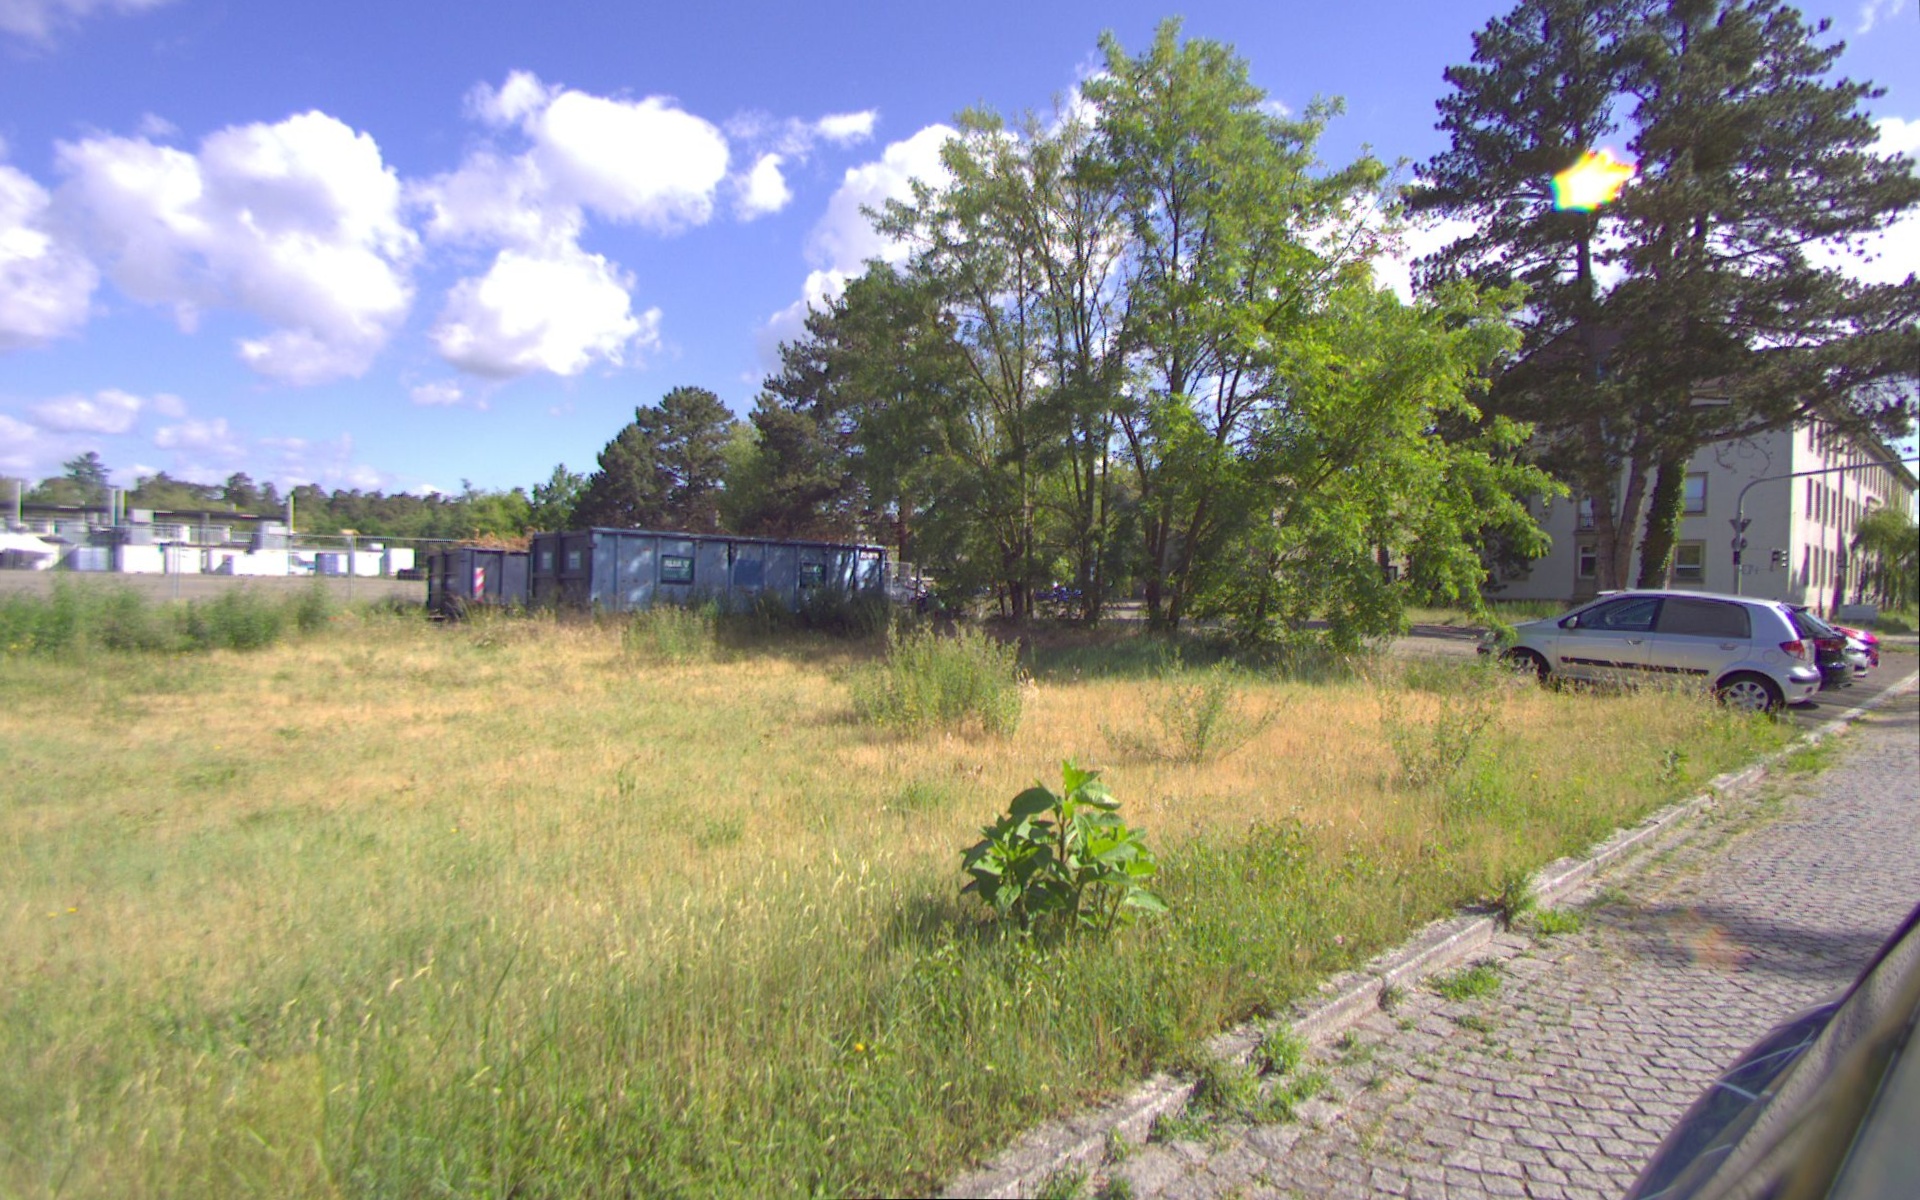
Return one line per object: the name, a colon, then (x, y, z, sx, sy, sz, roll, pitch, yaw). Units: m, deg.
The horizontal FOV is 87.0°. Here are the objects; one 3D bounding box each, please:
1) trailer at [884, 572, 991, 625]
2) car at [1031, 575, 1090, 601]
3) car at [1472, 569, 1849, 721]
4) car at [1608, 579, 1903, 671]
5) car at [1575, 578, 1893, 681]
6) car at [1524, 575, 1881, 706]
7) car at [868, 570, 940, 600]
trailer: (-0.529, -0.045, 22.542, 2.399, 1.119, 1.019, 1, 1, 45)
car: (6.964, -0.853, 69.900, 3.990, 1.582, 1.860, -4, 4, -40)
car: (9.095, 0.465, 13.352, 1.723, 1.494, 3.746, 0, 5, -43)
car: (16.421, 0.421, 21.077, 1.862, 1.438, 4.545, -1, 4, -43)
car: (14.465, 0.446, 19.116, 1.809, 1.482, 4.518, -1, 5, -44)
car: (11.025, 0.494, 15.241, 1.813, 1.458, 4.011, 0, 4, -43)
car: (-3.004, -0.792, 53.702, 1.715, 1.440, 3.993, 2, 1, -42)
